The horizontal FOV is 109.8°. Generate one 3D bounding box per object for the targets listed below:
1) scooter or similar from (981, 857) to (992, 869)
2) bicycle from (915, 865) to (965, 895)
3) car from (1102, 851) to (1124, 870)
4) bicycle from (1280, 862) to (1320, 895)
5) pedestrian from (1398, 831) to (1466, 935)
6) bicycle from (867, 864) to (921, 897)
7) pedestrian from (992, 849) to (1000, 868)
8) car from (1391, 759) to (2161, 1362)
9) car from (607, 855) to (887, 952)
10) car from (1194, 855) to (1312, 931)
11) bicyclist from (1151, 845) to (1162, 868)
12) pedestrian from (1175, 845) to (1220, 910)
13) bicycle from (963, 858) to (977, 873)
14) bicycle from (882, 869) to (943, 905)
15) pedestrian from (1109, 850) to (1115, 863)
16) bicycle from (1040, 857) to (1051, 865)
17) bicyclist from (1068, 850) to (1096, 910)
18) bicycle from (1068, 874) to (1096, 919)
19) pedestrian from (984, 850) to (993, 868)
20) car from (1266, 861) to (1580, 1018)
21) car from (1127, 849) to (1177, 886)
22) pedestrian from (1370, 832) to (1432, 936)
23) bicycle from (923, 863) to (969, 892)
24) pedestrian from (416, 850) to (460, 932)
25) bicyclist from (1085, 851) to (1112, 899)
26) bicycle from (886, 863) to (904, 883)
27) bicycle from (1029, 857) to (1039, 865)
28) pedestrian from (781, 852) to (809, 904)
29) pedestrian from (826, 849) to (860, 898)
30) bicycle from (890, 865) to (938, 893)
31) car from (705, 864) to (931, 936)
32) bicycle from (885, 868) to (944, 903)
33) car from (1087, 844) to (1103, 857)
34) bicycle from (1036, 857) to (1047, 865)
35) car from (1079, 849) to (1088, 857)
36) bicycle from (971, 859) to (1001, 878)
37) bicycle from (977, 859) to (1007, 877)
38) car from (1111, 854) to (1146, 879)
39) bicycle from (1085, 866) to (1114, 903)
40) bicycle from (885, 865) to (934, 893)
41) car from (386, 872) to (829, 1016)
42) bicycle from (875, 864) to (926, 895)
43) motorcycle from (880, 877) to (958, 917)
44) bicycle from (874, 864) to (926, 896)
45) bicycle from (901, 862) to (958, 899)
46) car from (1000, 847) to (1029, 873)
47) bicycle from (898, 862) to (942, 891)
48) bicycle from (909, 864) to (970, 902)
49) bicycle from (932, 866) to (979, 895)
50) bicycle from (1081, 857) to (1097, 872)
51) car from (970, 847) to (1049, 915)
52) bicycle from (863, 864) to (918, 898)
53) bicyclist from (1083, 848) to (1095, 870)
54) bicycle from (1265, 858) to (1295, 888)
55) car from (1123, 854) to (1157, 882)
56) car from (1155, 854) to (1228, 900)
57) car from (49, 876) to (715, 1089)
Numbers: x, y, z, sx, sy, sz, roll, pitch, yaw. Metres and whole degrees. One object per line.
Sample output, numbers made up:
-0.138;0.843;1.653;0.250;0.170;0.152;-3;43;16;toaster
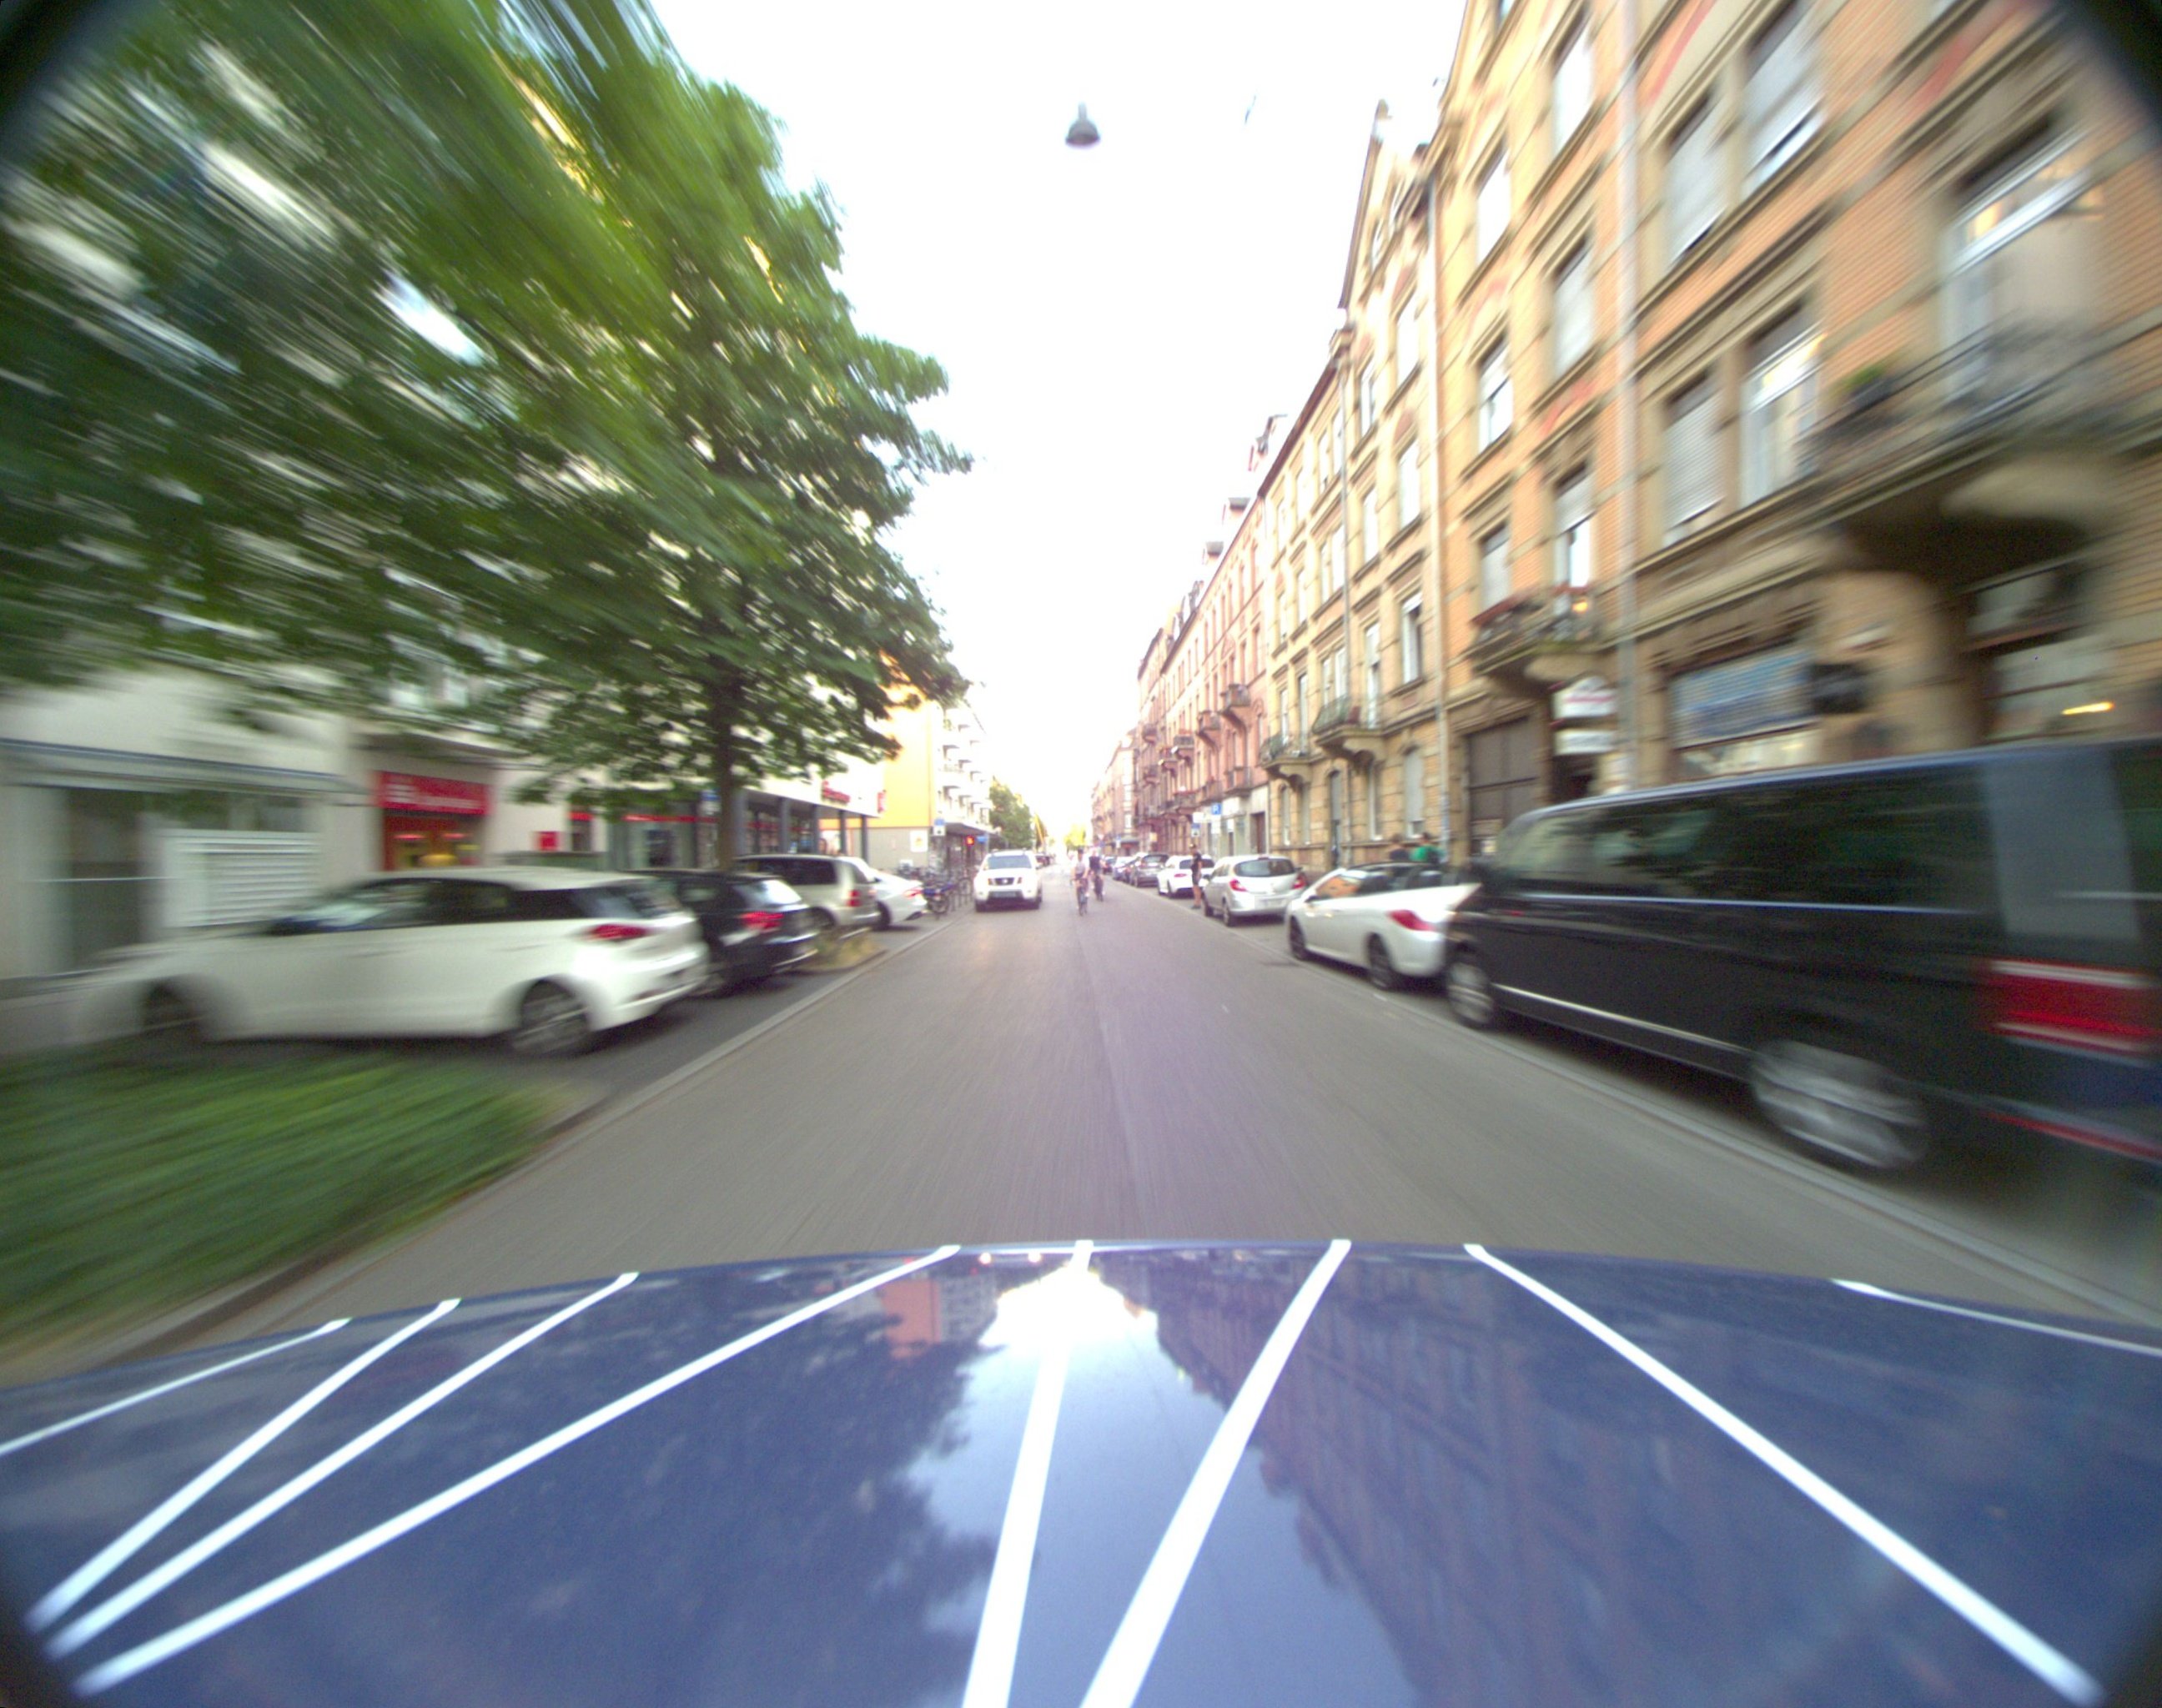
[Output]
-9.500;0.901;76.147;0.536;1.196;1.166;-1;0;25;scooter or similar
-5.388;0.980;29.064;1.814;1.111;0.706;1;1;-3;bicycle
2.642;0.508;62.876;1.697;1.412;3.854;-2;0;1;car
7.156;0.782;24.921;0.594;1.021;1.623;-2;0;-9;bicycle
6.323;0.514;13.734;0.581;1.761;0.997;-4;0;-5;pedestrian
-6.543;0.914;26.603;1.727;1.111;0.653;1;1;-4;bicycle
-7.852;0.413;70.311;0.710;1.818;0.860;0;2;-2;pedestrian
4.210;0.600;4.938;1.999;1.912;4.949;-3;0;-4;car
-6.026;0.874;14.119;4.410;1.638;1.746;1;0;-2;car
3.770;0.797;17.349;1.721;1.449;4.000;-3;0;0;car
5.671;0.183;56.730;0.709;1.720;0.843;-2;2;10;bicyclist
3.219;0.642;20.985;1.019;1.745;0.557;-1;2;33;pedestrian
-9.126;0.912;62.283;0.913;1.189;1.709;1;1;-15;bicycle
-5.320;1.039;24.067;1.777;1.016;0.565;2;1;1;bicycle
4.653;0.370;112.527;0.654;1.768;0.693;-2;0;17;pedestrian
-5.246;1.003;111.410;0.666;1.162;2.111;1;0;-29;bicycle
0.036;0.655;19.841;0.650;1.500;0.953;-2;2;1;bicyclist
0.043;1.079;19.835;0.658;1.012;1.917;-2;1;1;bicycle
-8.618;0.474;70.686;0.710;1.656;0.744;0;2;-2;pedestrian
3.987;0.875;9.855;1.789;1.414;4.484;-3;0;-3;car
3.387;0.627;37.102;1.858;1.624;4.445;-2;0;-1;car
5.686;0.518;13.546;0.607;1.762;0.777;-4;0;-5;pedestrian
-5.440;0.952;30.712;1.726;1.111;0.707;1;1;2;bicycle
-14.124;0.796;16.706;0.588;1.743;0.626;-3;2;-34;pedestrian
0.593;0.696;25.369;0.794;1.562;0.826;-2;0;-2;bicyclist
-11.022;1.106;45.075;0.564;1.061;1.757;0;2;4;bicycle
-6.856;0.991;110.681;0.666;1.125;2.111;1;0;-29;bicycle
-9.598;0.796;25.484;0.664;1.713;0.663;0;-1;-43;pedestrian
-8.406;0.684;26.836;0.915;1.713;0.774;2;-1;-38;pedestrian
-6.602;0.973;30.085;1.726;1.048;0.653;1;1;2;bicycle
-5.659;0.986;16.820;4.437;1.447;1.778;1;0;-7;car
-5.385;1.032;24.688;1.723;1.025;0.667;2;1;1;bicycle
2.211;-0.549;120.524;2.141;1.947;4.768;-2;0;-3;car
-5.816;0.999;111.521;0.666;1.162;2.111;1;0;-29;bicycle
0.618;-0.243;180.372;1.998;1.729;3.999;-2;1;2;car
-5.894;0.898;47.068;1.939;1.128;0.658;1;1;36;bicycle
-5.637;0.876;48.015;1.939;1.128;0.658;1;1;36;bicycle
2.992;0.777;48.688;1.727;1.412;4.581;-3;0;-1;car
0.605;0.989;25.366;0.794;1.133;2.343;-2;0;-2;bicycle
-6.622;0.970;29.413;1.726;1.048;0.653;1;1;2;bicycle
-5.246;0.967;8.901;3.998;1.447;1.827;0;0;-4;car
-6.699;0.930;28.252;1.726;1.111;0.653;1;1;2;bicycle
-4.482;1.175;21.029;2.066;1.072;0.663;1;1;-17;motorcycle
-6.578;0.931;27.685;1.726;1.111;0.653;1;1;2;bicycle
-5.356;0.935;26.900;1.791;1.175;0.734;3;1;9;bicycle
-5.317;0.495;61.334;1.964;1.962;5.002;0;0;-1;car
-6.590;0.918;31.110;1.729;1.125;0.578;1;1;-13;bicycle
-4.839;0.969;26.034;1.873;1.175;0.743;3;1;3;bicycle
-4.915;1.037;29.865;1.727;1.111;0.706;1;1;-3;bicycle
0.579;0.730;55.090;0.645;1.074;2.171;0;0;15;bicycle
-2.131;0.734;24.110;1.915;1.842;5.269;-2;1;0;car
-6.473;0.907;25.883;1.727;1.111;0.653;1;1;-4;bicycle
0.585;0.366;55.088;0.645;1.611;0.919;0;0;15;bicyclist
7.070;0.665;27.000;0.566;1.030;1.624;-2;0;-2;bicycle
3.271;0.753;42.706;1.589;1.412;3.696;-2;0;-1;car
3.763;0.735;26.625;1.763;1.403;4.508;-2;0;-1;car
-5.403;0.970;6.384;3.805;1.444;1.734;1;0;-6;car
